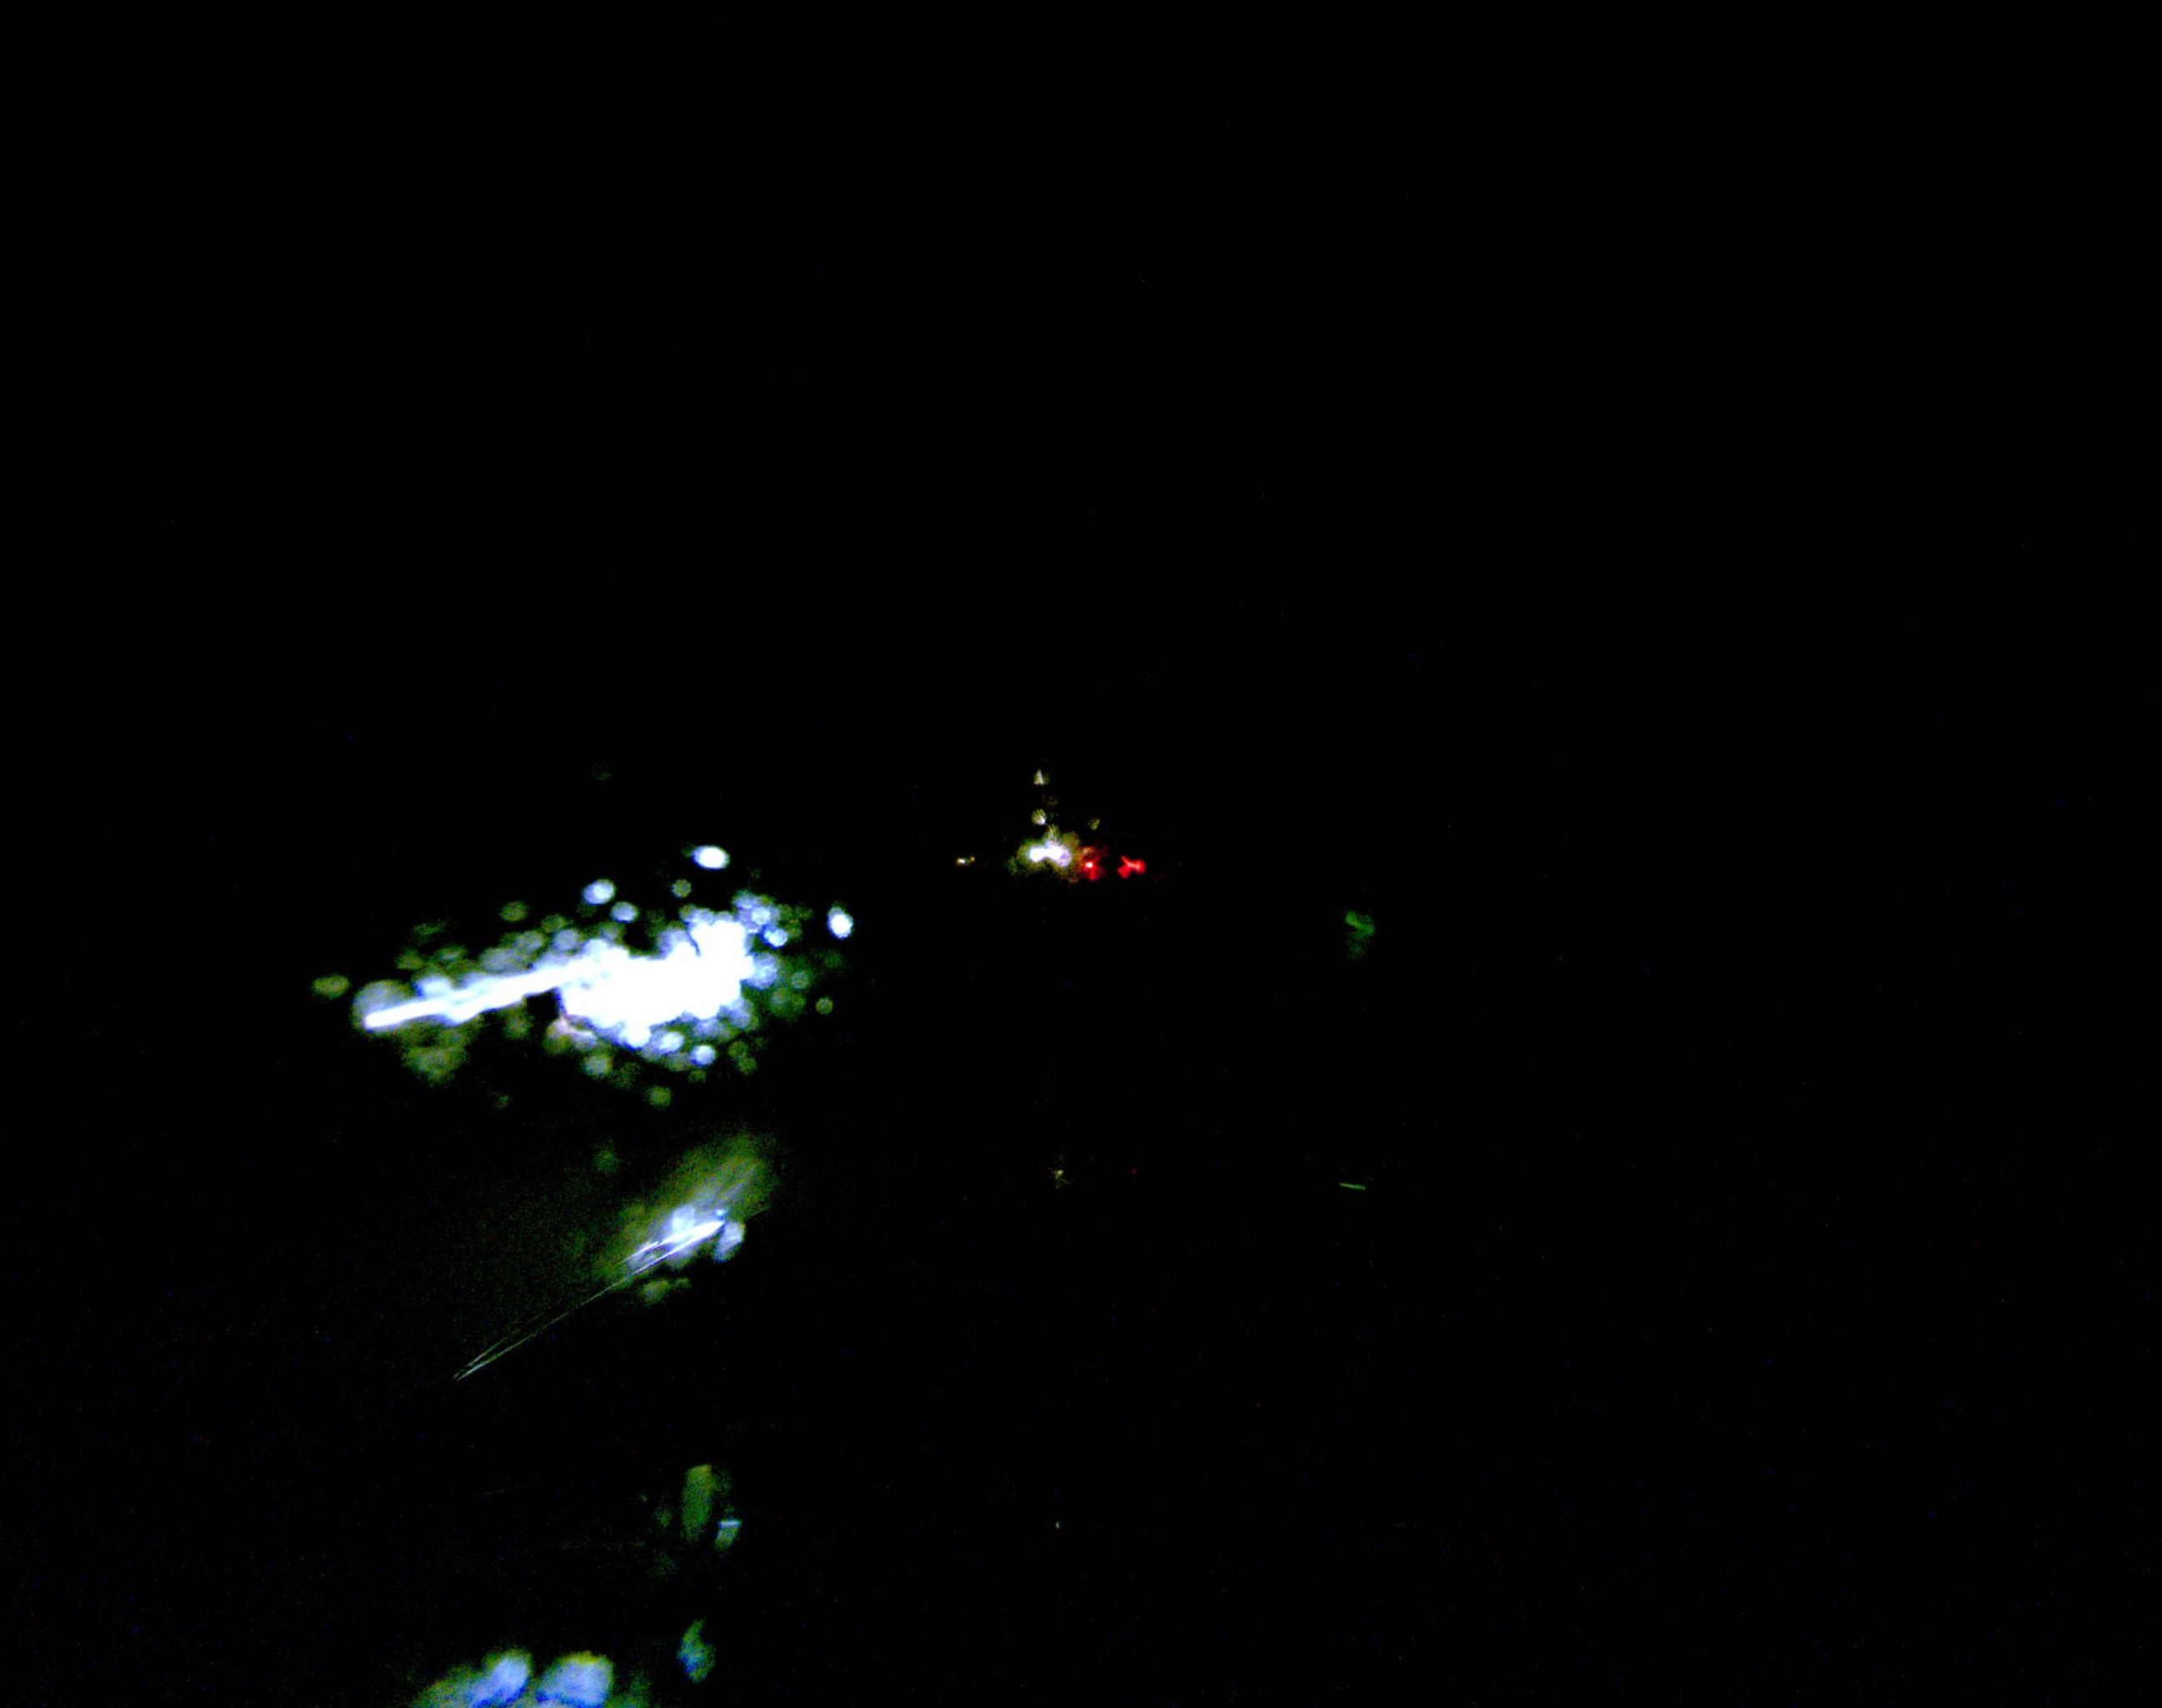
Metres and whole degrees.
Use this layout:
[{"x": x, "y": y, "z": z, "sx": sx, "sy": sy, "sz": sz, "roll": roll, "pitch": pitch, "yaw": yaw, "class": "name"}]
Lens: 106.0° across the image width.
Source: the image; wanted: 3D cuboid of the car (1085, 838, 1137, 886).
[{"x": 1.241, "y": 0.282, "z": 33.850, "sx": 1.986, "sy": 1.806, "sz": 3.920, "roll": -1, "pitch": 2, "yaw": 2, "class": "car"}]

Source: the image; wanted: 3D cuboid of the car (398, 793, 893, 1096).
[{"x": -3.111, "y": 0.525, "z": 6.965, "sx": 1.987, "sy": 1.781, "sz": 4.000, "roll": -2, "pitch": 1, "yaw": 0, "class": "car"}]
